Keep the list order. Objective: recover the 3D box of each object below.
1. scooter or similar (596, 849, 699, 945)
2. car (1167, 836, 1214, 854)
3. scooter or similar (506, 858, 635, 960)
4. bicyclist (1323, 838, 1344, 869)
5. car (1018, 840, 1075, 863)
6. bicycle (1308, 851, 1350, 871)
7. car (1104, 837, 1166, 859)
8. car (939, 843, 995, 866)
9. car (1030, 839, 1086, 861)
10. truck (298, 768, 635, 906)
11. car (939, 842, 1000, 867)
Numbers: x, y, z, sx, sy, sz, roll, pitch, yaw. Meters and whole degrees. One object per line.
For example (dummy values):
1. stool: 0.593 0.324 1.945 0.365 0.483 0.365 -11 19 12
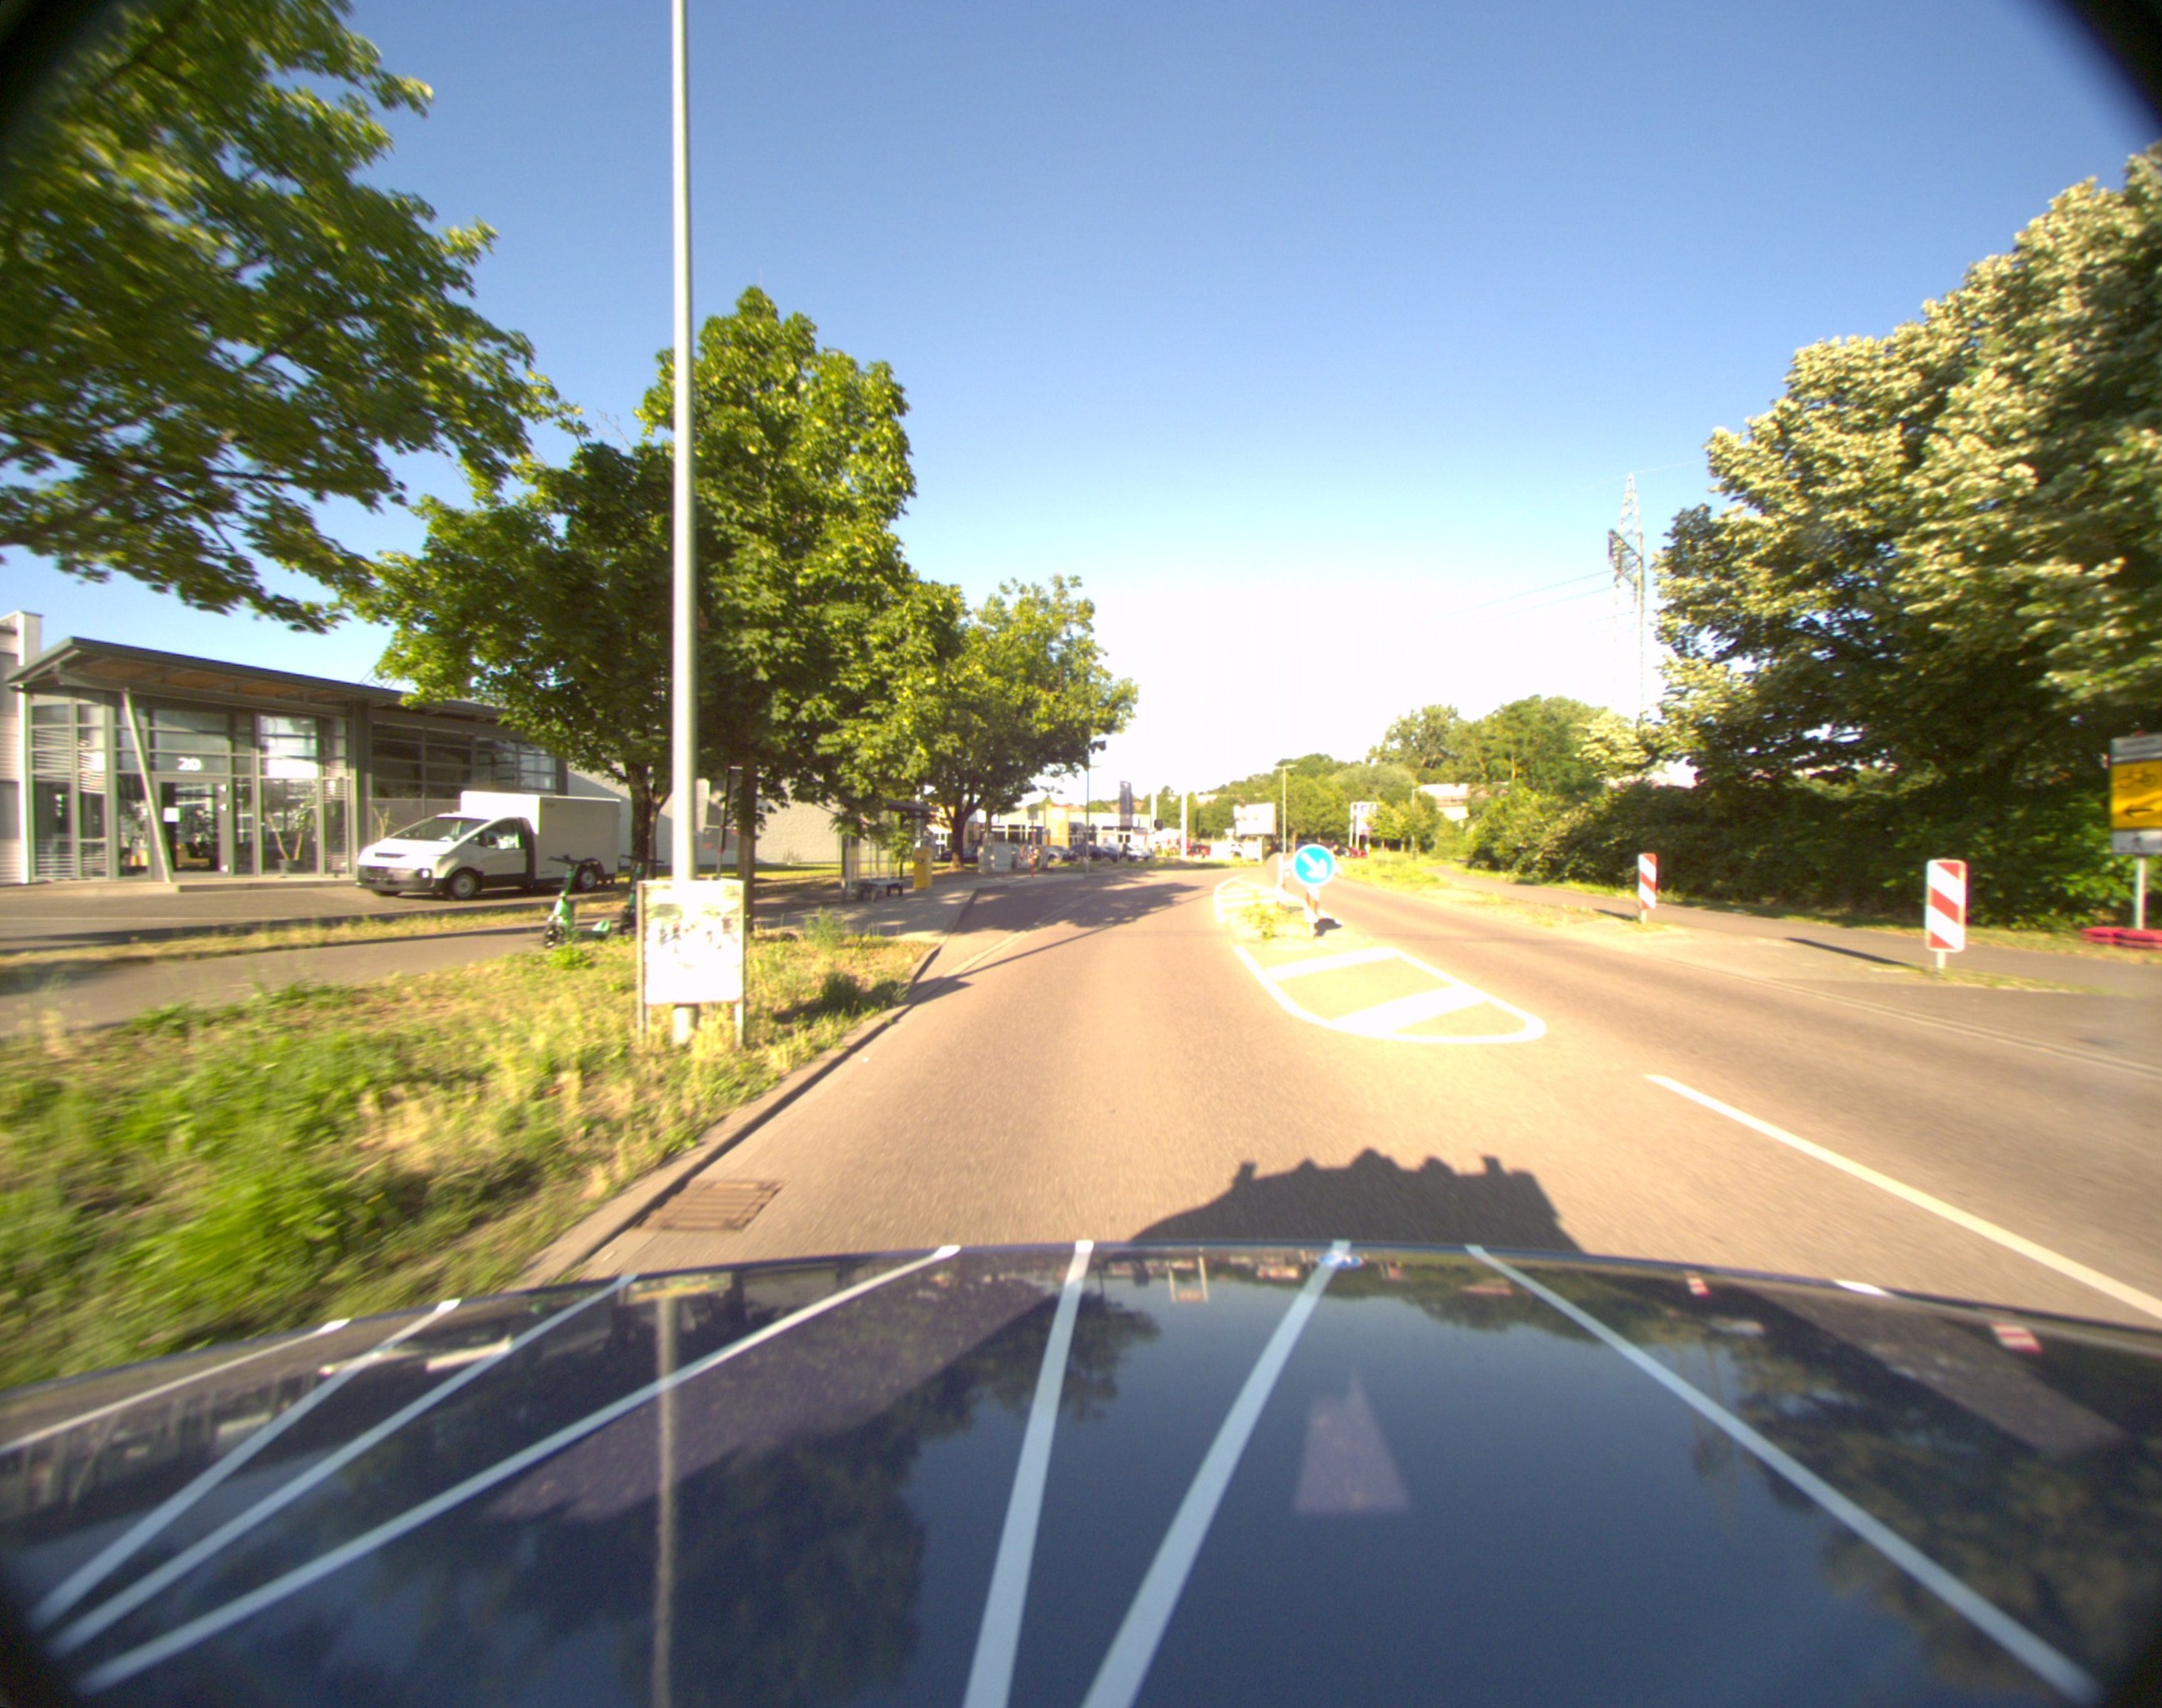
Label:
1. scooter or similar: -6.473 0.598 11.433 0.547 1.328 1.482 1 1 7
2. car: 12.135 -1.019 84.618 2.304 2.002 4.832 -1 1 -42
3. scooter or similar: -6.596 0.669 9.906 0.547 1.190 1.482 1 1 7
4. bicyclist: 14.409 -0.045 43.354 0.952 1.742 0.913 1 2 29
5. car: -3.188 -0.277 70.028 4.833 2.002 2.304 1 1 33
6. bicycle: 14.178 0.399 43.468 2.157 1.094 0.927 1 1 28
7. car: 5.079 -0.573 71.263 5.275 2.002 2.410 1 1 33
8. car: -10.441 0.026 69.595 4.832 2.002 2.305 1 1 37
9. car: -2.198 -0.368 72.576 4.833 2.002 2.304 1 1 33
10. truck: -13.953 -0.389 18.006 2.542 2.704 5.976 1 1 10
11. car: -9.509 0.040 64.704 4.833 2.002 2.304 1 1 31
